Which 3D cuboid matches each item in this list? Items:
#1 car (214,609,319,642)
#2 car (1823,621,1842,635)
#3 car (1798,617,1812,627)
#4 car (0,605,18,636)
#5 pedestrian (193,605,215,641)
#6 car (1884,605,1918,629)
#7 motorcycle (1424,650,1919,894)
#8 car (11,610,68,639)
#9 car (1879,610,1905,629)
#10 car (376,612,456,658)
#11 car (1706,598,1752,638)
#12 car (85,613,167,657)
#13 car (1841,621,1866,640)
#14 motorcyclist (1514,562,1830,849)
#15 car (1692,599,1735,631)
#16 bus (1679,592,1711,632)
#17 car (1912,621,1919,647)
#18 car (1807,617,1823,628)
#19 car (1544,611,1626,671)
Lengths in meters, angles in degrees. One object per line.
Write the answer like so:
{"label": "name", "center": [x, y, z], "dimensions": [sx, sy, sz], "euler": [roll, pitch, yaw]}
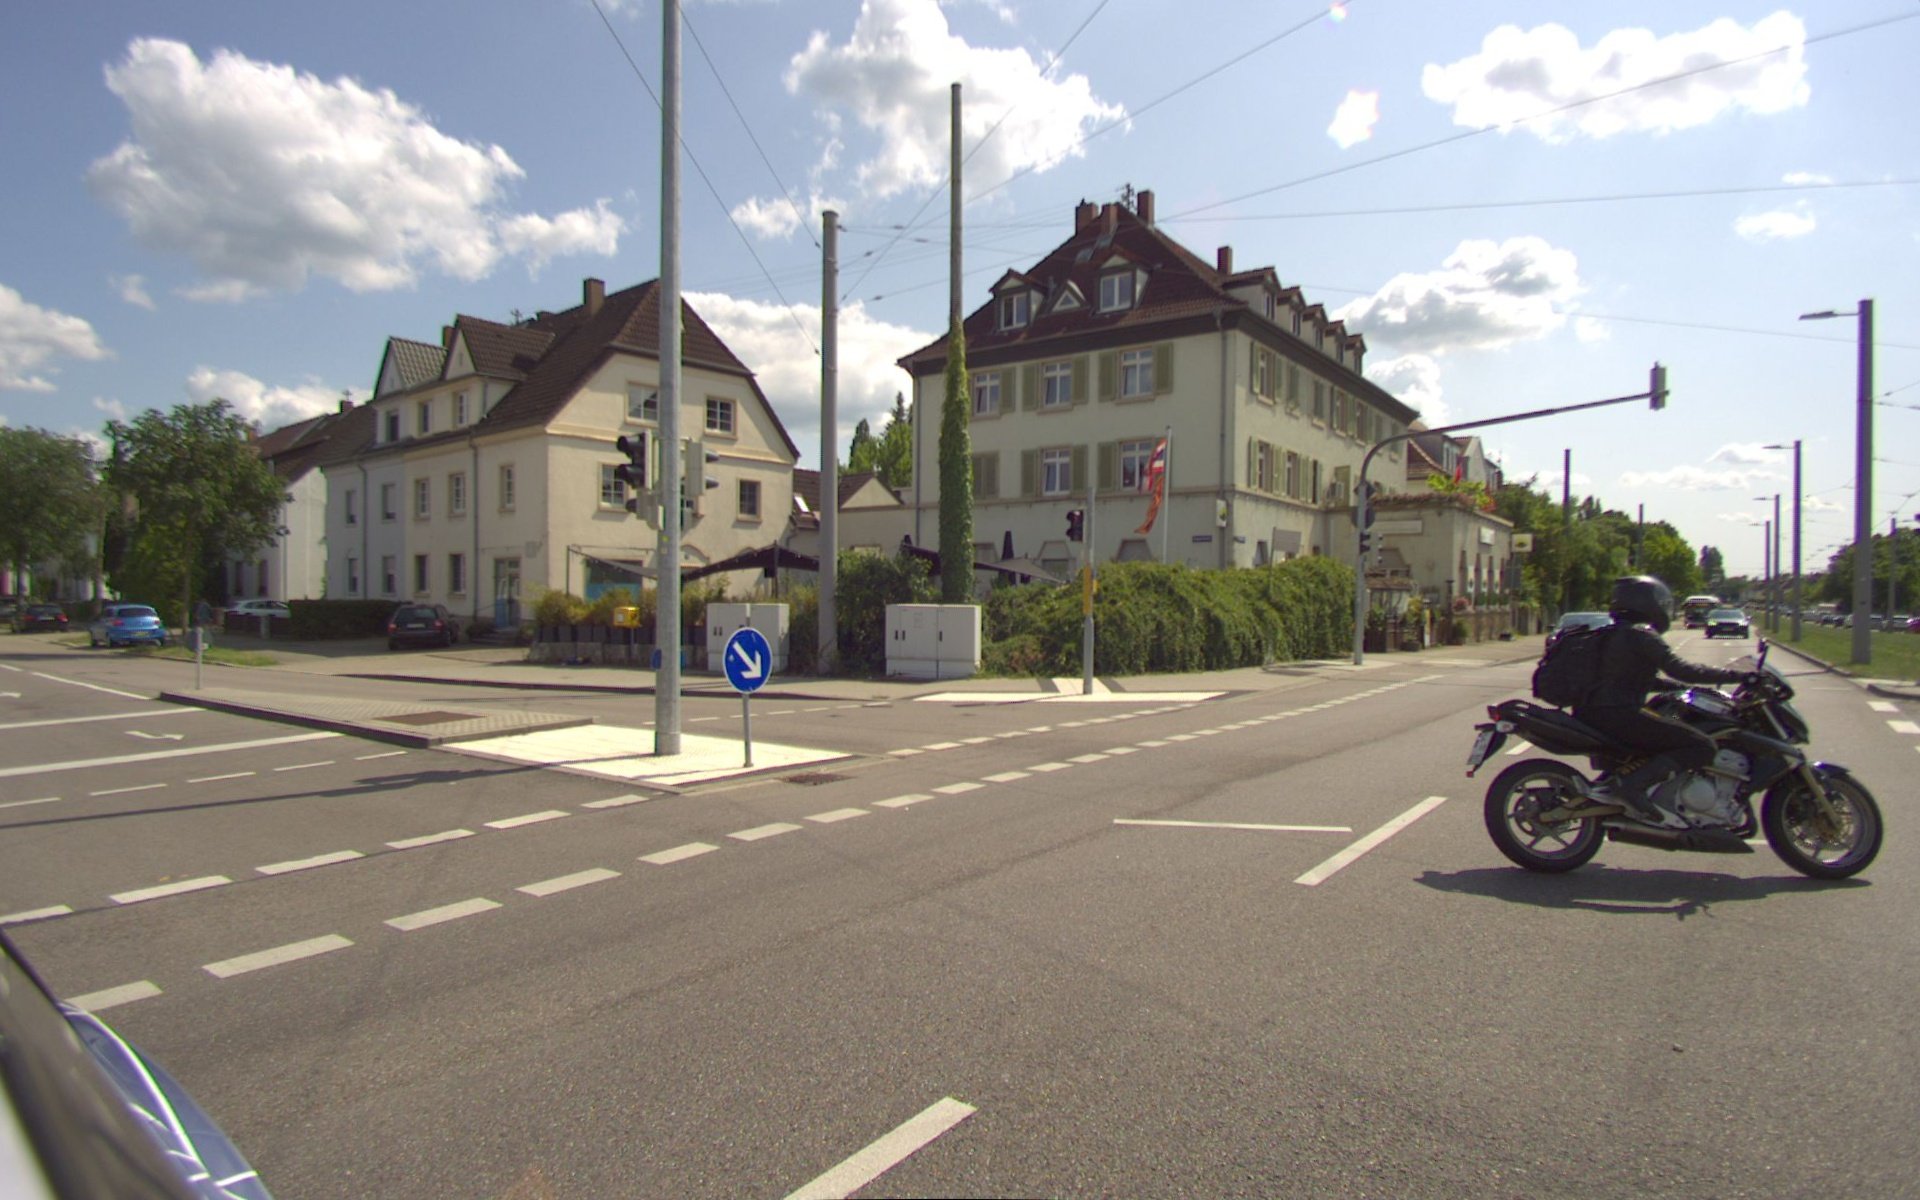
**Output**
{"label": "car", "center": [-32.158, 1.143, 46.984], "dimensions": [1.711, 1.465, 3.755], "euler": [0, -1, 43]}
{"label": "car", "center": [113.745, 3.593, 131.942], "dimensions": [1.801, 1.730, 3.945], "euler": [0, -1, 42]}
{"label": "car", "center": [145.886, 3.726, 174.719], "dimensions": [1.800, 1.730, 3.947], "euler": [0, -1, 40]}
{"label": "car", "center": [-53.784, 1.128, 56.507], "dimensions": [3.574, 1.667, 1.541], "euler": [0, -1, 43]}
{"label": "pedestrian", "center": [-32.397, 0.972, 43.378], "dimensions": [0.618, 1.547, 0.623], "euler": [0, -1, 42]}
{"label": "car", "center": [81.796, 1.458, 88.013], "dimensions": [1.999, 2.029, 3.944], "euler": [0, -1, 42]}
{"label": "motorcycle", "center": [3.882, 0.865, 5.467], "dimensions": [2.335, 1.136, 0.840], "euler": [-1, -1, 13]}
{"label": "car", "center": [-43.053, 1.114, 47.330], "dimensions": [3.918, 1.306, 1.686], "euler": [0, -1, 43]}
{"label": "car", "center": [90.495, 1.882, 98.271], "dimensions": [1.801, 1.730, 3.945], "euler": [0, -1, 42]}
{"label": "car", "center": [-17.907, 1.120, 33.472], "dimensions": [1.732, 1.397, 4.115], "euler": [0, 0, -20]}
{"label": "car", "center": [41.387, 0.955, 54.528], "dimensions": [1.901, 2.029, 3.669], "euler": [1, 0, 36]}
{"label": "car", "center": [-29.604, 1.213, 35.910], "dimensions": [3.152, 1.473, 1.688], "euler": [0, -1, 40]}
{"label": "car", "center": [96.436, 3.296, 109.280], "dimensions": [1.999, 2.029, 3.944], "euler": [0, -1, 42]}
{"label": "motorcyclist", "center": [3.783, 0.545, 5.494], "dimensions": [1.089, 1.409, 0.822], "euler": [-3, -1, 12]}
{"label": "car", "center": [50.442, 0.988, 67.736], "dimensions": [1.999, 2.029, 3.945], "euler": [0, 0, 42]}
{"label": "bus", "center": [75.636, 1.181, 104.261], "dimensions": [2.395, 3.805, 11.881], "euler": [0, 0, 35]}
{"label": "car", "center": [75.717, 2.659, 78.921], "dimensions": [1.999, 2.029, 3.944], "euler": [0, -1, 42]}
{"label": "car", "center": [132.074, 3.457, 156.388], "dimensions": [1.801, 1.730, 3.945], "euler": [0, -1, 42]}
{"label": "car", "center": [17.938, 1.110, 28.986], "dimensions": [1.744, 1.596, 3.877], "euler": [0, 0, 36]}
